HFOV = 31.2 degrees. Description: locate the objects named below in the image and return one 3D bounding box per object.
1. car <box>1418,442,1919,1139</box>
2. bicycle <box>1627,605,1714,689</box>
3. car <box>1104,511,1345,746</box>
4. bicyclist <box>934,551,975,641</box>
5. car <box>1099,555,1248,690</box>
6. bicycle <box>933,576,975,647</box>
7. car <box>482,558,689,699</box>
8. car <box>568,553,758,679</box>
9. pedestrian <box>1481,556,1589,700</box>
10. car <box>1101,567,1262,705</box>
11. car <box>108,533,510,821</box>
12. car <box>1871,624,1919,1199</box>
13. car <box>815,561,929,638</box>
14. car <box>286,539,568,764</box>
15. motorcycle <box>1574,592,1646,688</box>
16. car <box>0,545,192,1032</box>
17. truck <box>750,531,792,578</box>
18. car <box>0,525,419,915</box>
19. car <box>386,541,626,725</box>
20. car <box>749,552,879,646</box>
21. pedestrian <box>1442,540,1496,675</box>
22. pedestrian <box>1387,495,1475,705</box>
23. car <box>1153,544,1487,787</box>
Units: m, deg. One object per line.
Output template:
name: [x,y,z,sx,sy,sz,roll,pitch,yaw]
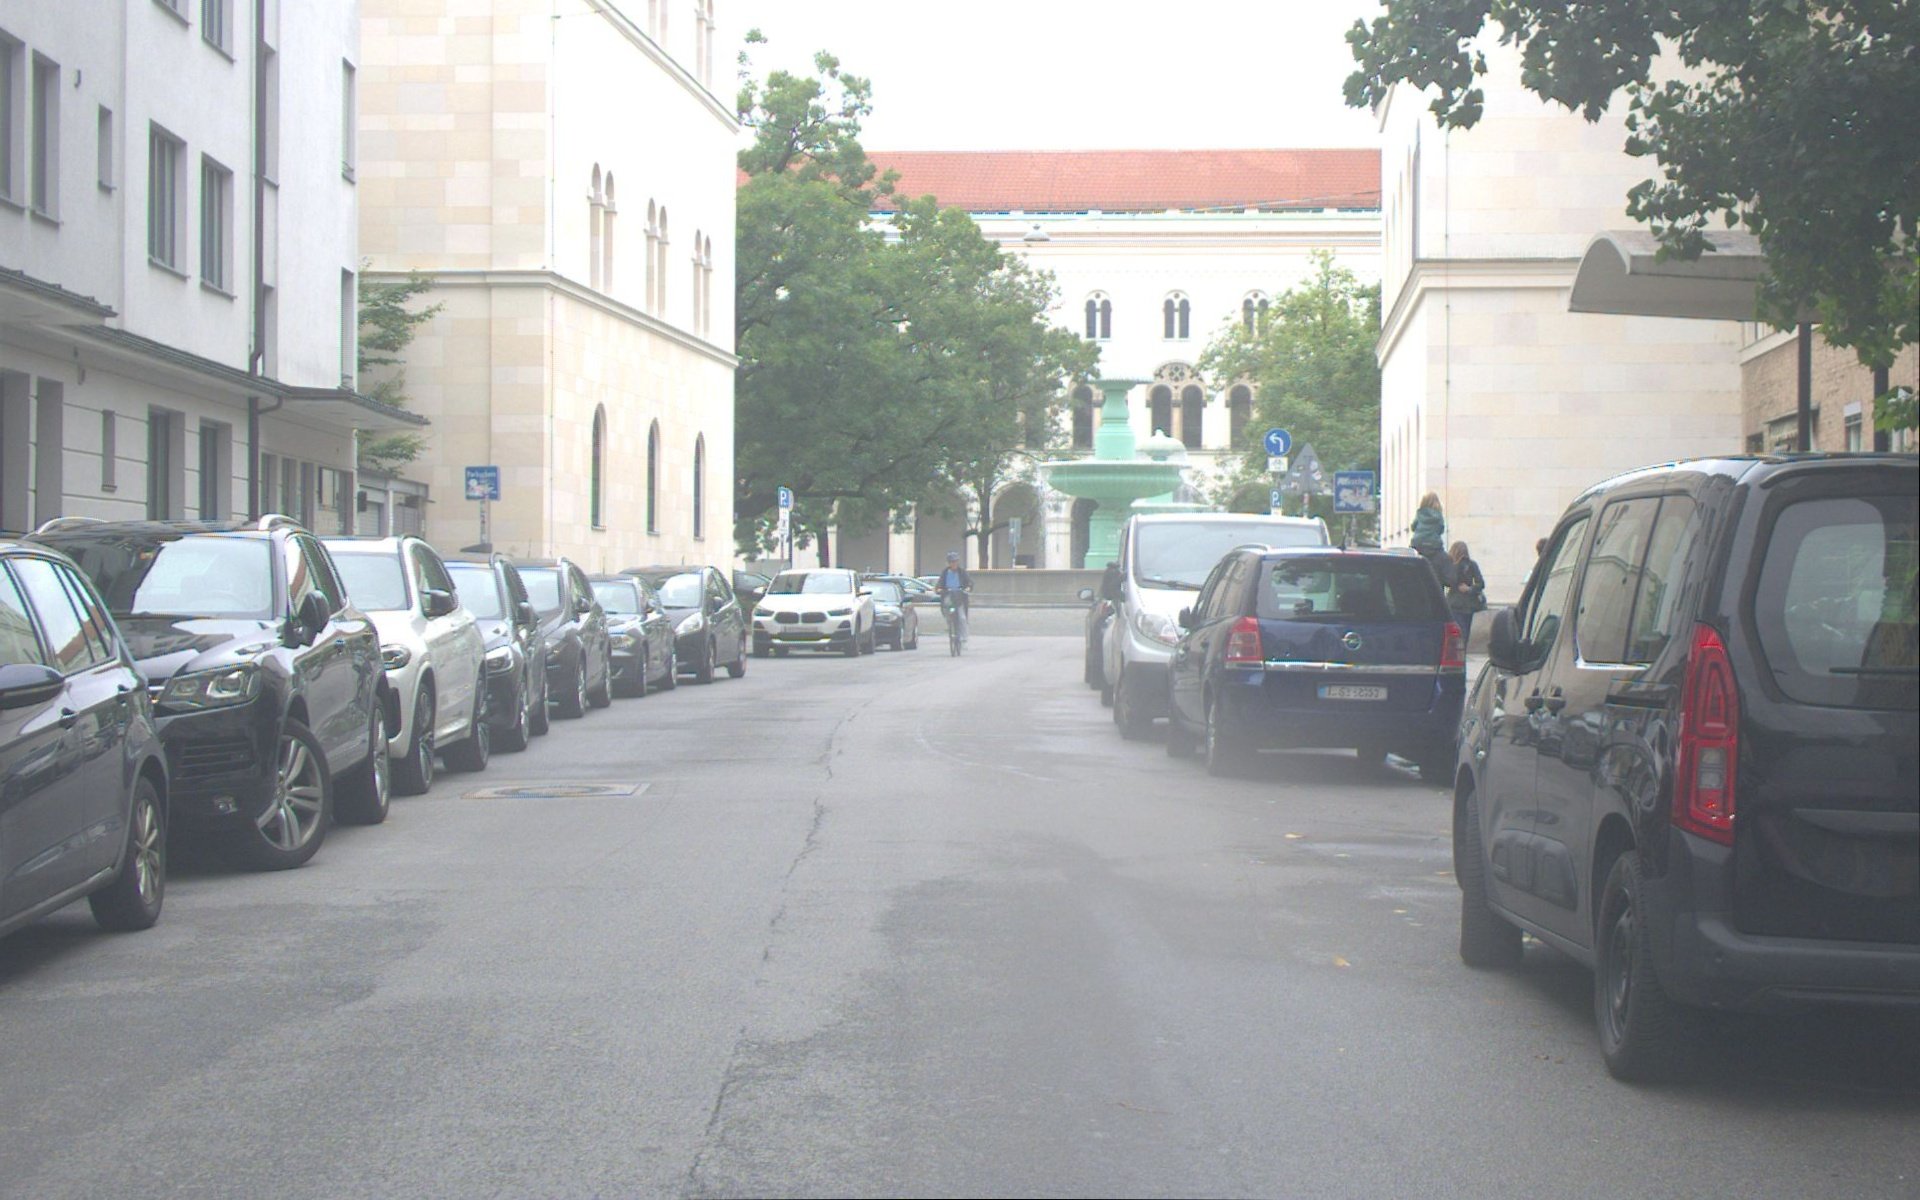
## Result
car: [2.682,0.485,10.935,1.846,1.770,4.201,2,1,0]
bicycle: [7.379,0.482,35.757,0.516,0.815,1.434,-1,1,-4]
car: [2.267,0.193,30.572,1.882,1.917,4.874,0,1,2]
bicyclist: [-0.094,-0.070,59.691,0.657,1.545,0.887,-1,0,2]
car: [2.627,0.242,42.813,1.747,1.588,3.956,0,1,3]
bicycle: [-0.097,0.185,59.594,0.648,1.193,1.950,-1,1,2]
car: [-4.306,0.290,40.122,1.751,1.448,4.015,-2,2,3]
car: [-3.822,0.177,44.873,1.751,1.448,4.015,-2,2,5]
pedestrian: [6.235,0.295,37.308,0.949,1.542,0.674,-1,1,-16]
car: [2.439,0.361,38.201,1.673,1.412,4.201,0,1,3]
car: [-4.247,0.424,23.161,1.872,1.652,4.591,-2,2,-1]
car: [2.520,0.779,3.806,1.713,1.419,4.458,0,1,-2]
car: [-1.671,-0.021,66.469,1.699,1.388,4.211,-2,0,5]
car: [-4.409,0.360,29.065,1.872,1.652,4.591,-2,2,-3]
motorcycle: [7.592,0.456,40.188,0.488,1.050,1.924,0,1,1]
car: [-4.022,0.628,12.010,1.773,1.534,4.159,-2,2,-1]
truck: [-10.161,-2.458,184.678,1.993,2.480,4.001,0,1,-6]
car: [-4.055,0.499,17.666,1.872,1.682,4.521,-2,2,-1]
car: [-4.510,0.279,34.691,1.872,1.652,4.080,-2,2,-1]
car: [-2.520,-0.024,60.127,1.778,1.529,4.211,-2,0,4]
pedestrian: [6.227,0.081,42.087,0.588,1.627,0.877,0,1,5]
pedestrian: [4.973,-0.004,36.320,0.793,2.190,0.814,0,1,-1]
car: [2.502,0.400,24.864,1.807,1.595,4.216,0,1,-2]
